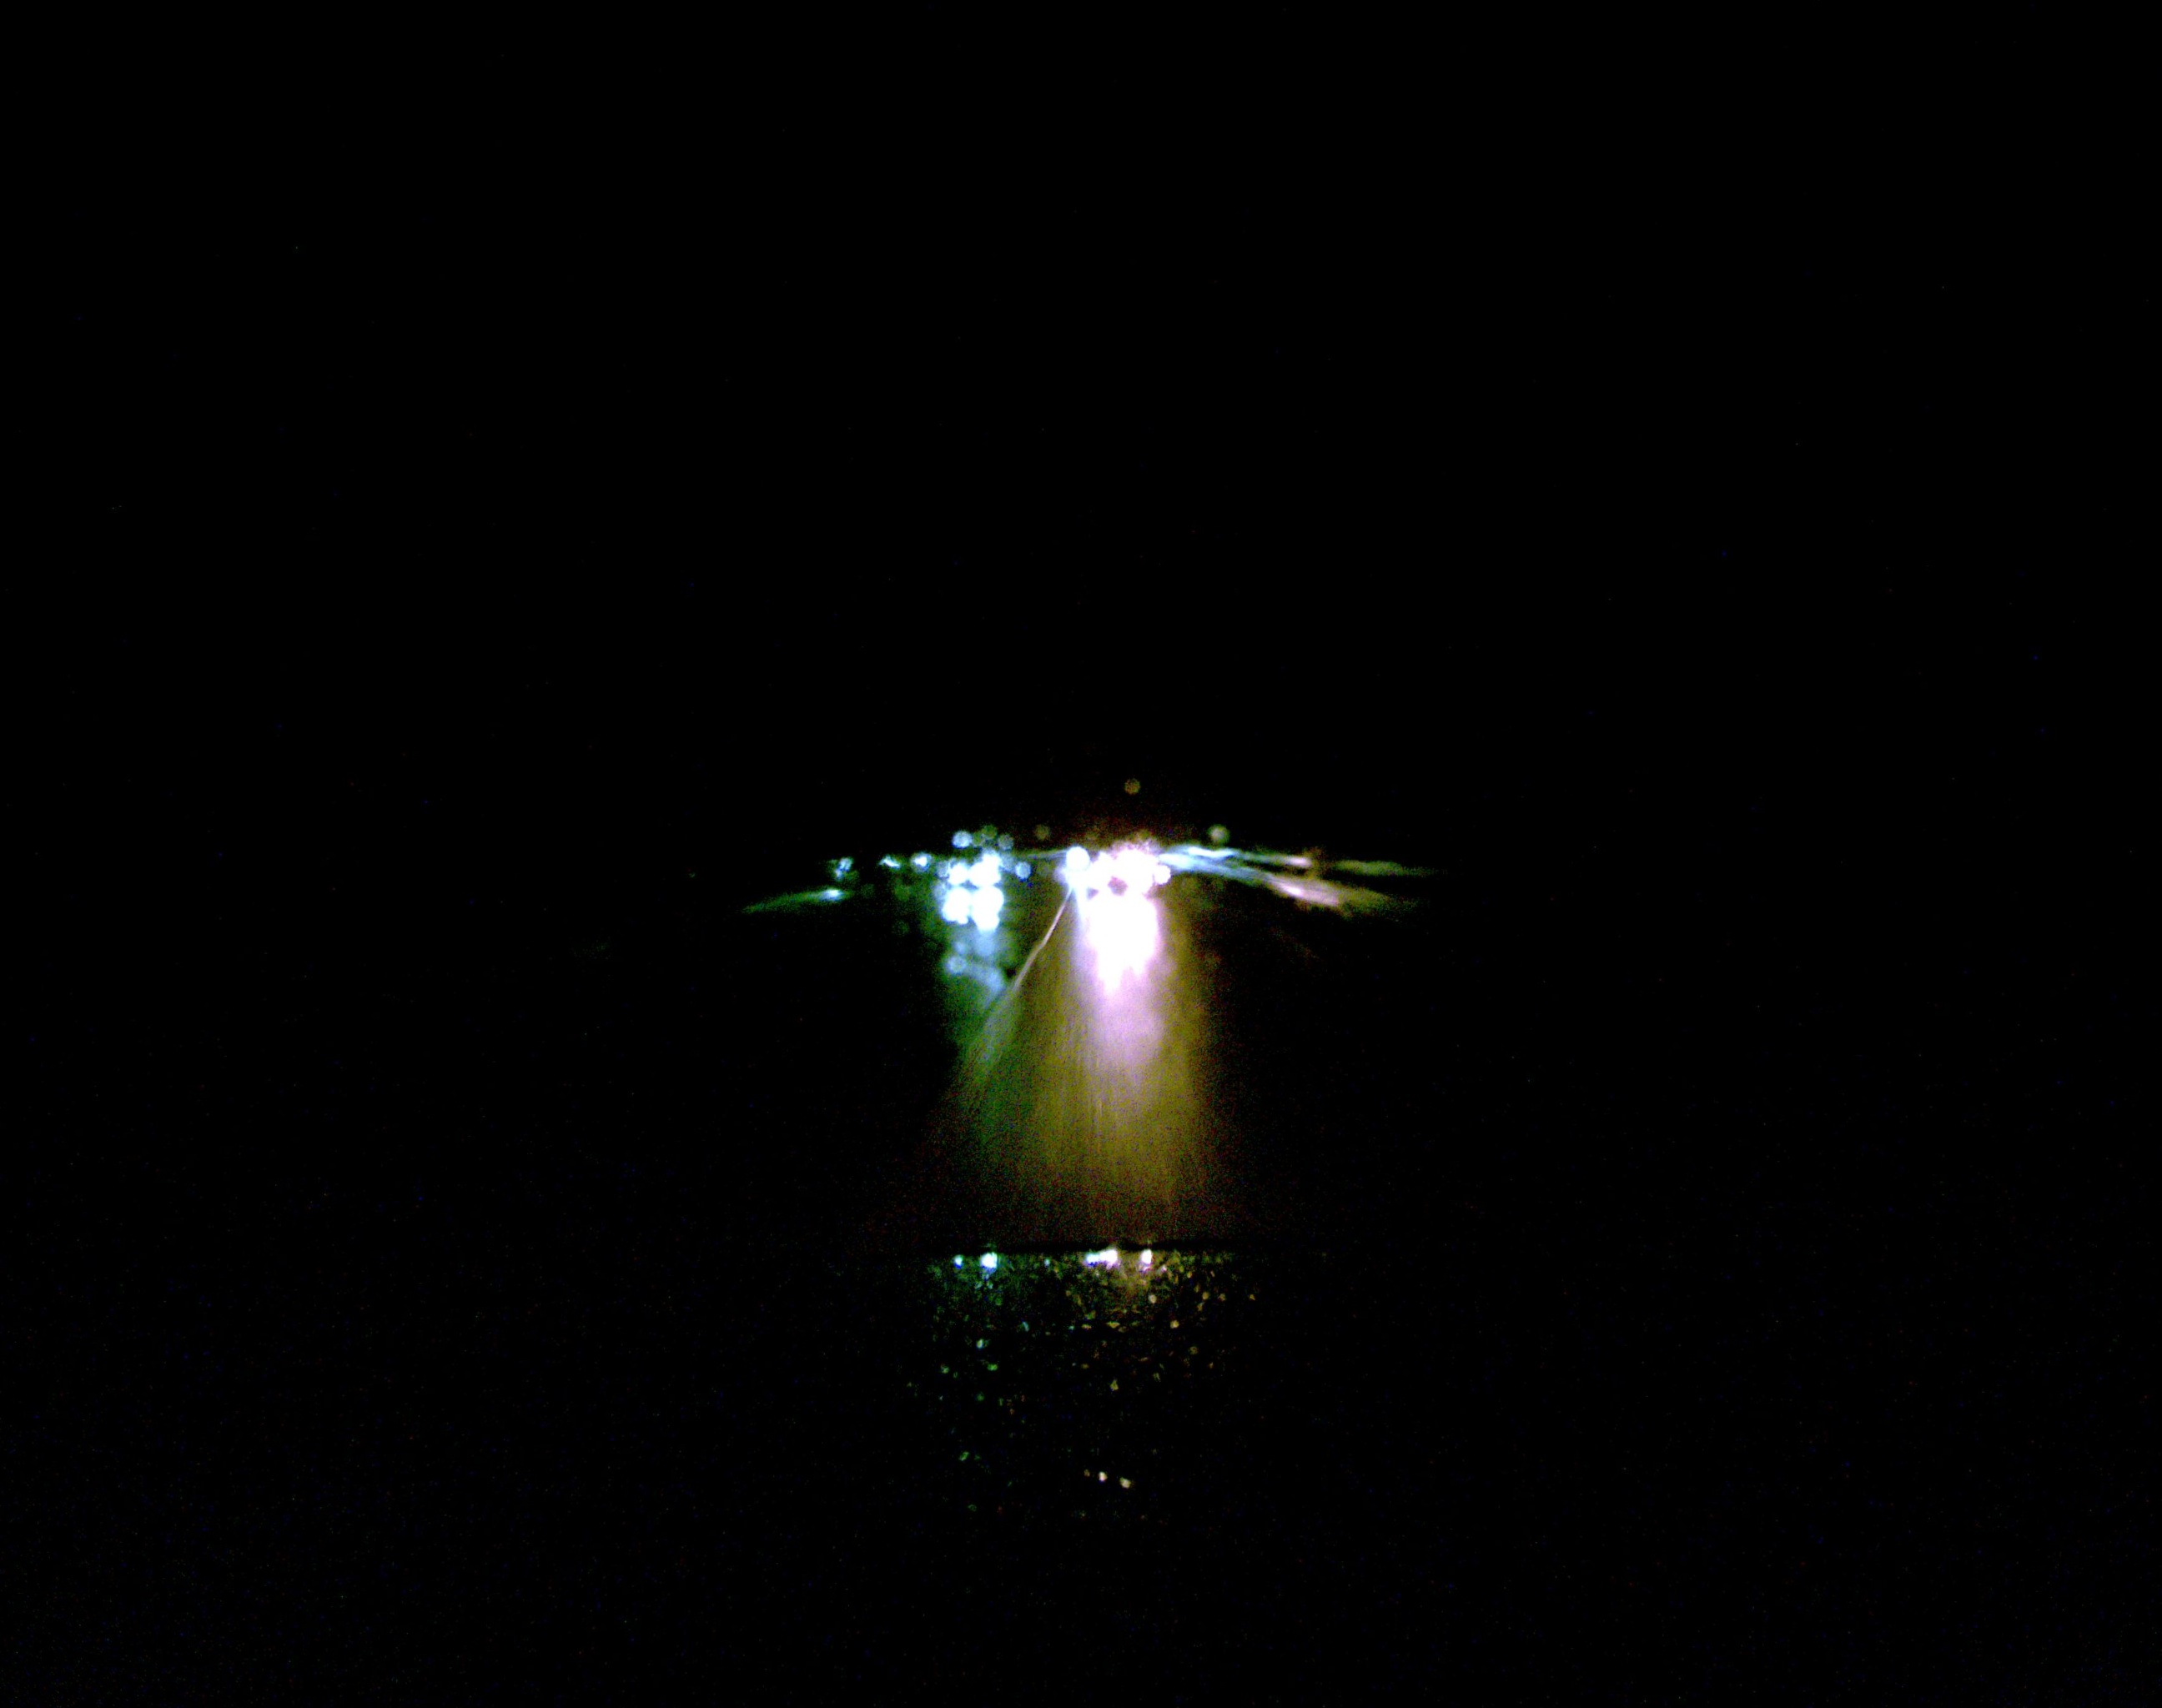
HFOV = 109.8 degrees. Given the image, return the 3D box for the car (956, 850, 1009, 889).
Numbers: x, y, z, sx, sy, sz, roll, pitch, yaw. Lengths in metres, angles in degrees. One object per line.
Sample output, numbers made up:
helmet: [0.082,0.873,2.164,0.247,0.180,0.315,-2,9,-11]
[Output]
car: [-5.054,0.750,39.463,1.740,1.674,4.121,-5,1,6]

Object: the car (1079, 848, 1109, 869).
car: [0.866,0.282,52.143,1.760,1.304,4.084,-4,1,-2]

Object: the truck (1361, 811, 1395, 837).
truck: [56.098,-5.726,143.474,5.551,4.313,2.543,-4,3,24]

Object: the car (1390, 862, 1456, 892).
car: [20.798,1.373,46.383,1.764,1.482,4.040,-2,3,-8]

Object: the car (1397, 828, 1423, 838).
car: [50.881,-3.241,117.441,3.934,1.390,1.727,-3,3,-30]

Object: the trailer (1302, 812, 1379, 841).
trailer: [49.893,-5.256,146.285,13.679,4.313,2.543,-4,3,24]

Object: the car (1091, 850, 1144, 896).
car: [1.383,0.638,27.527,1.686,1.442,3.643,-3,1,6]
